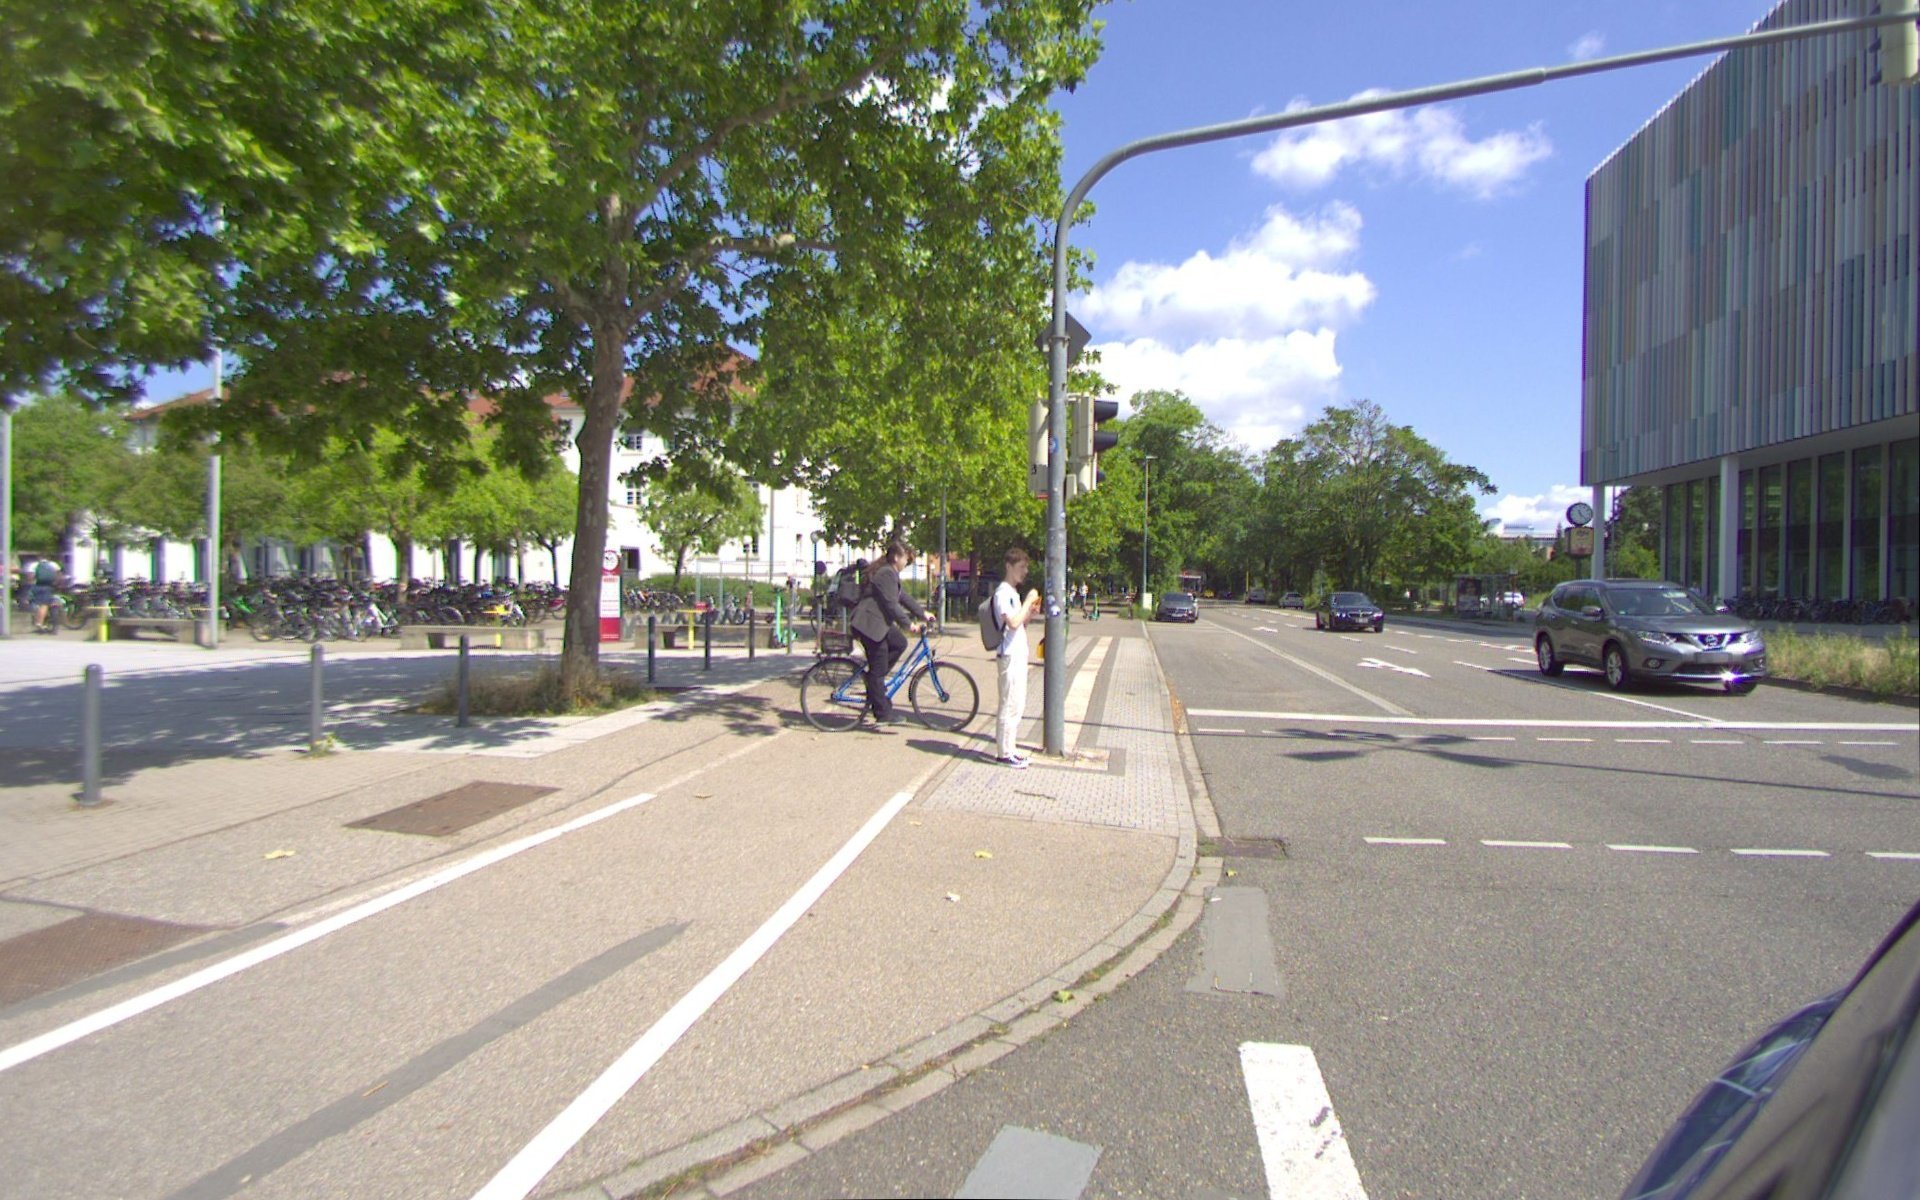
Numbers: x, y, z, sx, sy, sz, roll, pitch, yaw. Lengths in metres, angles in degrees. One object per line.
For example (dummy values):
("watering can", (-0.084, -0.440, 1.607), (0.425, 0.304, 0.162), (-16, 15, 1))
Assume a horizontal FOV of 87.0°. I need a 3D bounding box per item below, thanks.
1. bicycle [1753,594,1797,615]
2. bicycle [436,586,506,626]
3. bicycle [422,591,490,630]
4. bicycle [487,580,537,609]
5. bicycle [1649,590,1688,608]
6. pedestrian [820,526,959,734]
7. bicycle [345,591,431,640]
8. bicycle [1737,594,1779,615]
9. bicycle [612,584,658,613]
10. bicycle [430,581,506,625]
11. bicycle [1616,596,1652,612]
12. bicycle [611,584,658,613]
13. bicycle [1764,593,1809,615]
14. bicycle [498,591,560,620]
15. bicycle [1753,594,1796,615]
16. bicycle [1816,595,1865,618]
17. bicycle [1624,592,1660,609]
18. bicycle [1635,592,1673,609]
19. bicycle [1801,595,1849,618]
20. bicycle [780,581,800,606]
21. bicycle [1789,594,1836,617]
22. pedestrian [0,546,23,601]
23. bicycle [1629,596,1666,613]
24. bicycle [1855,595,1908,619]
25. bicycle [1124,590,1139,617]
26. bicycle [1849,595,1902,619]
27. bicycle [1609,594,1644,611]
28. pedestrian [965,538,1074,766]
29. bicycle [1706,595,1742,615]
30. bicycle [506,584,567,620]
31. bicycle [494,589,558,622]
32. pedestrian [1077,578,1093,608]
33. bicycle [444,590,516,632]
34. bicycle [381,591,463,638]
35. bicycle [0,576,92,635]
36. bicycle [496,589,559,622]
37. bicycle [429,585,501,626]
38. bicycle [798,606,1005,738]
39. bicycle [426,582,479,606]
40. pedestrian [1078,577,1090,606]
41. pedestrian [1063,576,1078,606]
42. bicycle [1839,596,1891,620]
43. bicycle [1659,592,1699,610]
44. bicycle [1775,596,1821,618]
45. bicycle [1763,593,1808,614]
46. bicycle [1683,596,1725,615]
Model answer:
("bicycle", (38.264, 0.221, 47.519), (1.530, 0.967, 0.370), (-1, 0, 26))
("bicycle", (-13.946, 0.184, 28.906), (1.730, 1.113, 0.605), (1, 0, -20))
("bicycle", (-14.795, 0.303, 29.750), (1.730, 1.113, 0.605), (0, 0, -20))
("bicycle", (-17.503, -0.222, 39.548), (1.731, 1.112, 0.605), (-1, 0, -21))
("bicycle", (39.975, -0.043, 57.091), (1.756, 0.967, 0.432), (-1, 0, 11))
("pedestrian", (-0.703, 0.258, 9.697), (1.152, 1.841, 0.858), (4, 3, -8))
("bicycle", (-13.883, 0.363, 24.594), (1.731, 1.112, 0.605), (-1, 0, -20))
("bicycle", (38.689, 0.223, 49.073), (1.530, 0.967, 0.370), (-1, 0, 26))
("bicycle", (-13.052, -0.073, 40.649), (1.731, 1.112, 0.594), (-1, 0, -21))
("bicycle", (-13.040, 0.081, 26.873), (1.731, 1.112, 0.605), (-1, 0, -20))
("bicycle", (40.662, 0.246, 61.032), (1.756, 0.967, 0.432), (-1, 0, 11))
("bicycle", (-12.876, -0.067, 40.053), (1.731, 1.112, 0.517), (-1, 0, -21))
("bicycle", (37.944, 0.185, 46.458), (1.530, 0.967, 0.370), (-1, 0, 26))
("bicycle", (-13.426, 0.165, 31.572), (1.730, 0.880, 0.485), (0, 0, -20))
("bicycle", (38.501, 0.215, 47.867), (1.530, 0.967, 0.370), (-1, 0, 26))
("bicycle", (37.571, 0.280, 43.199), (1.530, 0.967, 0.370), (-1, 0, 26))
("bicycle", (40.540, 0.022, 60.161), (1.756, 0.967, 0.432), (-1, 0, 11))
("bicycle", (40.135, 0.044, 58.534), (1.756, 0.967, 0.432), (-1, 0, 11))
("bicycle", (37.427, 0.298, 43.800), (1.530, 0.967, 0.370), (-1, 0, 26))
("bicycle", (-8.131, -0.313, 48.430), (0.596, 1.152, 1.587), (2, 1, 2))
("bicycle", (37.466, 0.250, 44.480), (1.530, 0.967, 0.370), (-1, 0, 26))
("pedestrian", (-39.236, -1.099, 41.711), (0.621, 2.257, 0.718), (-1, 0, -20))
("bicycle", (40.460, 0.273, 59.581), (1.756, 0.967, 0.432), (-1, 0, 11))
("bicycle", (37.136, 0.279, 40.803), (1.530, 0.967, 0.370), (-1, 0, 26))
("bicycle", (8.065, 0.171, 47.576), (0.629, 1.205, 2.113), (2, 0, 9))
("bicycle", (37.379, 0.302, 41.329), (1.530, 0.967, 0.370), (-1, 0, 26))
("bicycle", (40.777, 0.158, 61.946), (1.756, 0.967, 0.432), (-1, 0, 11))
("pedestrian", (0.494, 0.411, 8.503), (0.599, 1.823, 0.596), (2, 1, -36))
("bicycle", (37.816, 0.253, 50.093), (1.517, 0.967, 0.373), (-1, 0, 0))
("bicycle", (-13.475, 0.054, 32.231), (1.731, 1.112, 0.605), (-1, 0, -20))
("bicycle", (-12.869, 0.170, 30.053), (1.730, 0.966, 0.605), (0, 0, -20))
("pedestrian", (7.502, -0.441, 60.878), (0.670, 1.803, 0.792), (-1, 0, -13))
("bicycle", (-13.130, 0.298, 27.720), (1.730, 1.113, 0.605), (0, 0, -20))
("bicycle", (-13.502, 0.342, 25.459), (1.731, 1.112, 0.605), (-1, 0, -20))
("bicycle", (-21.274, 0.116, 23.566), (0.649, 1.313, 1.877), (-1, 1, -7))
("bicycle", (-13.148, 0.165, 30.811), (1.730, 0.966, 0.605), (0, 0, -20))
("bicycle", (-13.759, 0.144, 28.183), (1.730, 1.112, 0.605), (0, 0, -20))
("bicycle", (-0.580, 0.678, 9.738), (1.852, 1.085, 0.819), (3, 2, -7))
("bicycle", (-19.469, -0.234, 38.847), (1.731, 0.880, 0.605), (-2, 1, -21))
("pedestrian", (7.750, -0.540, 63.191), (0.672, 1.803, 0.790), (-1, 0, 3))
("pedestrian", (6.668, -0.528, 61.042), (0.670, 1.803, 0.792), (-1, 0, -11))
("bicycle", (37.542, 0.324, 41.997), (1.530, 0.967, 0.370), (-1, 0, 26))
("bicycle", (39.854, 0.036, 56.127), (1.756, 0.967, 0.432), (-1, 0, 11))
("bicycle", (37.764, 0.315, 45.628), (1.530, 0.967, 0.370), (-1, 0, 26))
("bicycle", (38.214, 0.162, 46.867), (1.530, 0.967, 0.370), (-1, 0, 26))
("bicycle", (39.477, 0.270, 53.705), (1.756, 0.967, 0.432), (-1, 0, 11))
